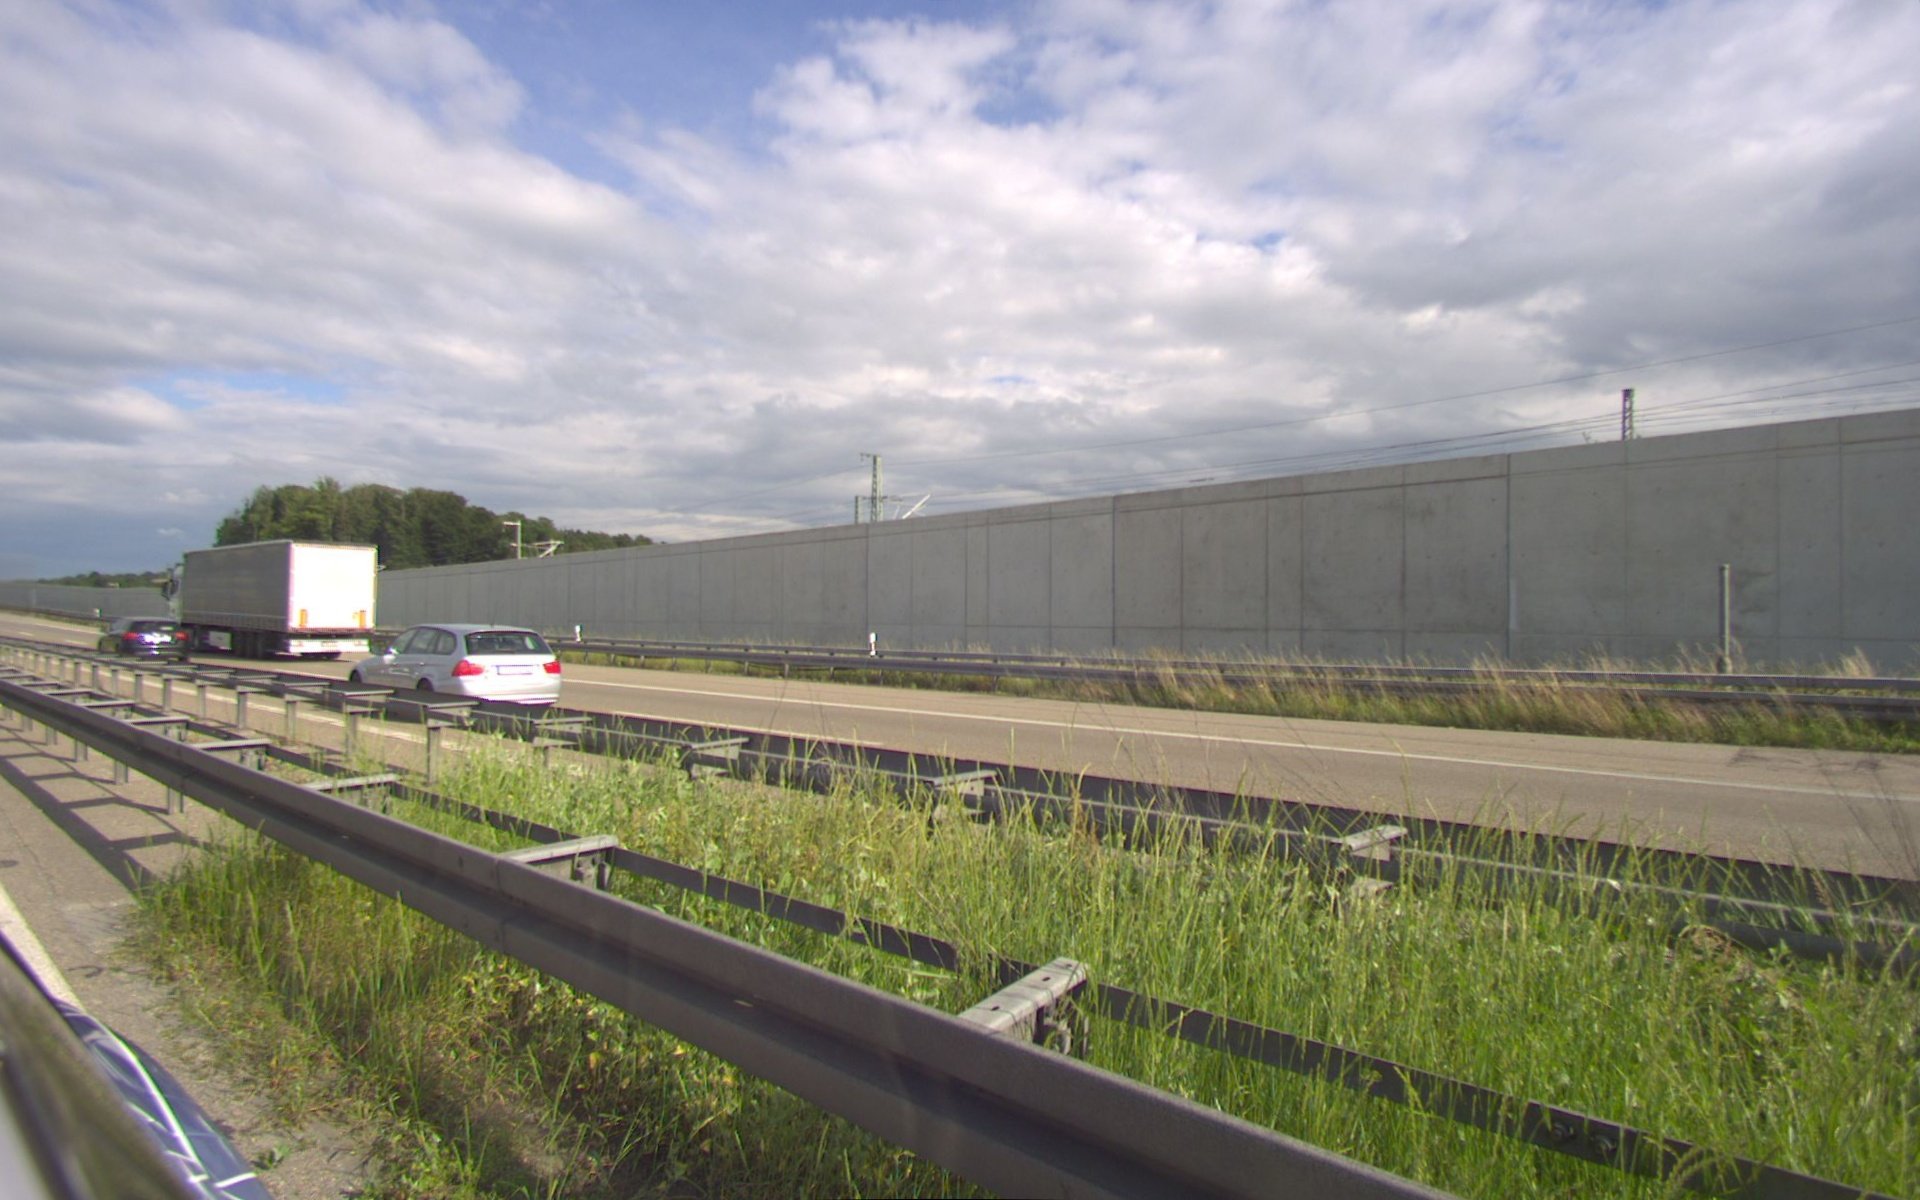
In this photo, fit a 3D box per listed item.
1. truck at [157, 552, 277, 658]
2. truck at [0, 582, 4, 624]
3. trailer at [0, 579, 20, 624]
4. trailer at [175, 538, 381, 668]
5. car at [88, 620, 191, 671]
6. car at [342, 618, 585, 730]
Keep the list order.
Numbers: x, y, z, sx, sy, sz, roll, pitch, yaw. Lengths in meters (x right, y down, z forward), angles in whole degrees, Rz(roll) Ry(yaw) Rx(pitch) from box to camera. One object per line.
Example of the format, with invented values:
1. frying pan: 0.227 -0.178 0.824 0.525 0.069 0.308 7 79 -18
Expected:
1. truck: -30.970 0.271 42.135 5.528 4.119 2.747 -1 -3 41
2. truck: -96.427 0.311 99.726 5.876 4.099 2.657 -1 -2 41
3. trailer: -91.308 0.217 95.252 13.783 4.069 2.656 -1 -2 41
4. trailer: -25.588 0.215 37.449 13.511 4.108 2.761 -1 -3 41
5. car: -25.497 1.373 31.410 3.951 1.462 1.636 -1 -1 38
6. car: -7.636 1.008 15.388 4.230 1.462 1.854 -1 -1 41
